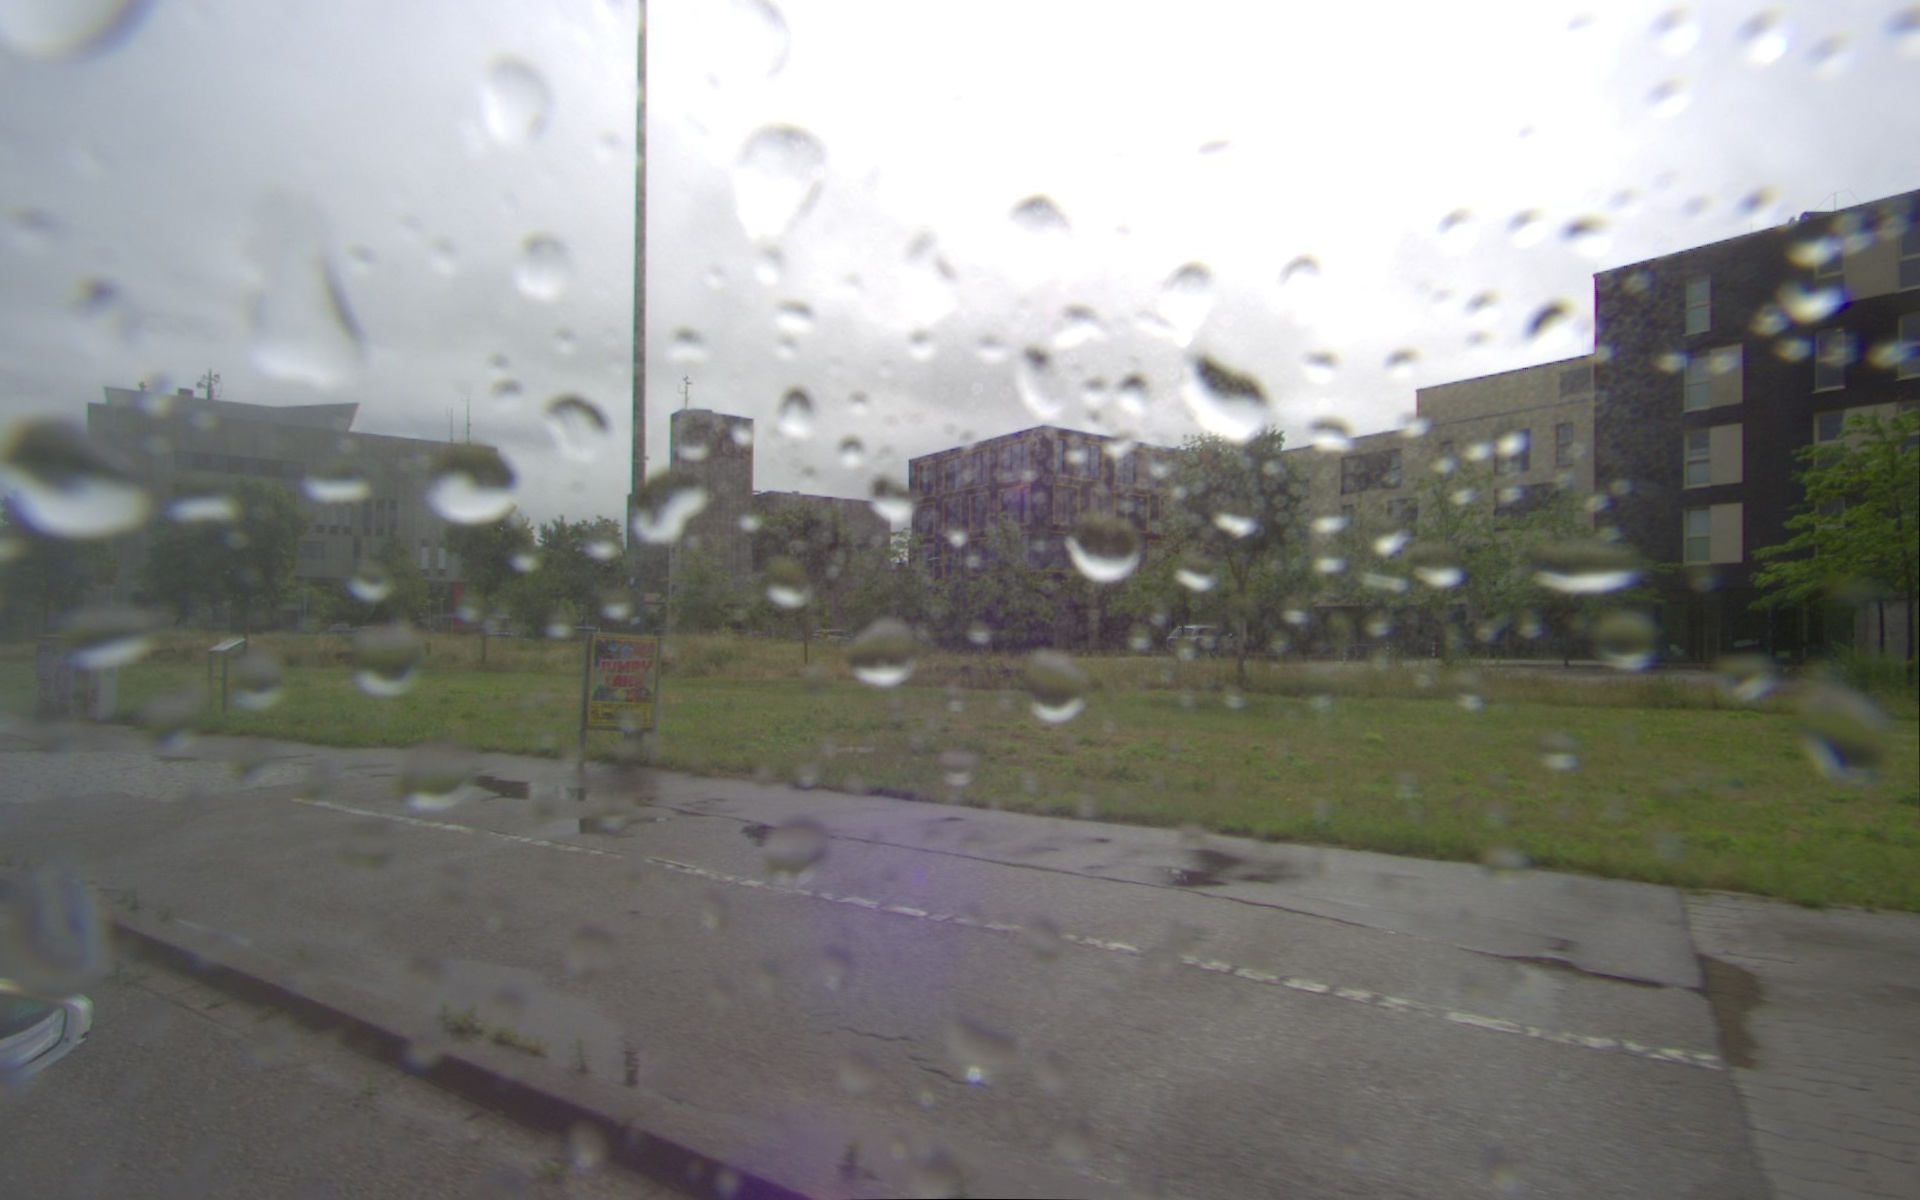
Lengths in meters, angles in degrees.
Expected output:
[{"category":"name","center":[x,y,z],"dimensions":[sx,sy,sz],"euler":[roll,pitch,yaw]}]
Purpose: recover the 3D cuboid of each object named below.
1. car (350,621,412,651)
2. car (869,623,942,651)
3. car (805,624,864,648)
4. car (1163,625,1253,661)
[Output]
[{"category":"car","center":[-41.371,2.584,71.606],"dimensions":[3.652,2.039,1.992],"euler":[1,-2,-27]},{"category":"car","center":[-3.600,2.443,66.629],"dimensions":[4.497,1.784,1.988],"euler":[2,-2,-33]},{"category":"car","center":[-9.378,2.732,74.913],"dimensions":[3.947,1.742,1.759],"euler":[2,-2,-33]},{"category":"car","center":[11.516,1.942,46.387],"dimensions":[4.163,1.577,1.657],"euler":[0,-1,-33]}]
